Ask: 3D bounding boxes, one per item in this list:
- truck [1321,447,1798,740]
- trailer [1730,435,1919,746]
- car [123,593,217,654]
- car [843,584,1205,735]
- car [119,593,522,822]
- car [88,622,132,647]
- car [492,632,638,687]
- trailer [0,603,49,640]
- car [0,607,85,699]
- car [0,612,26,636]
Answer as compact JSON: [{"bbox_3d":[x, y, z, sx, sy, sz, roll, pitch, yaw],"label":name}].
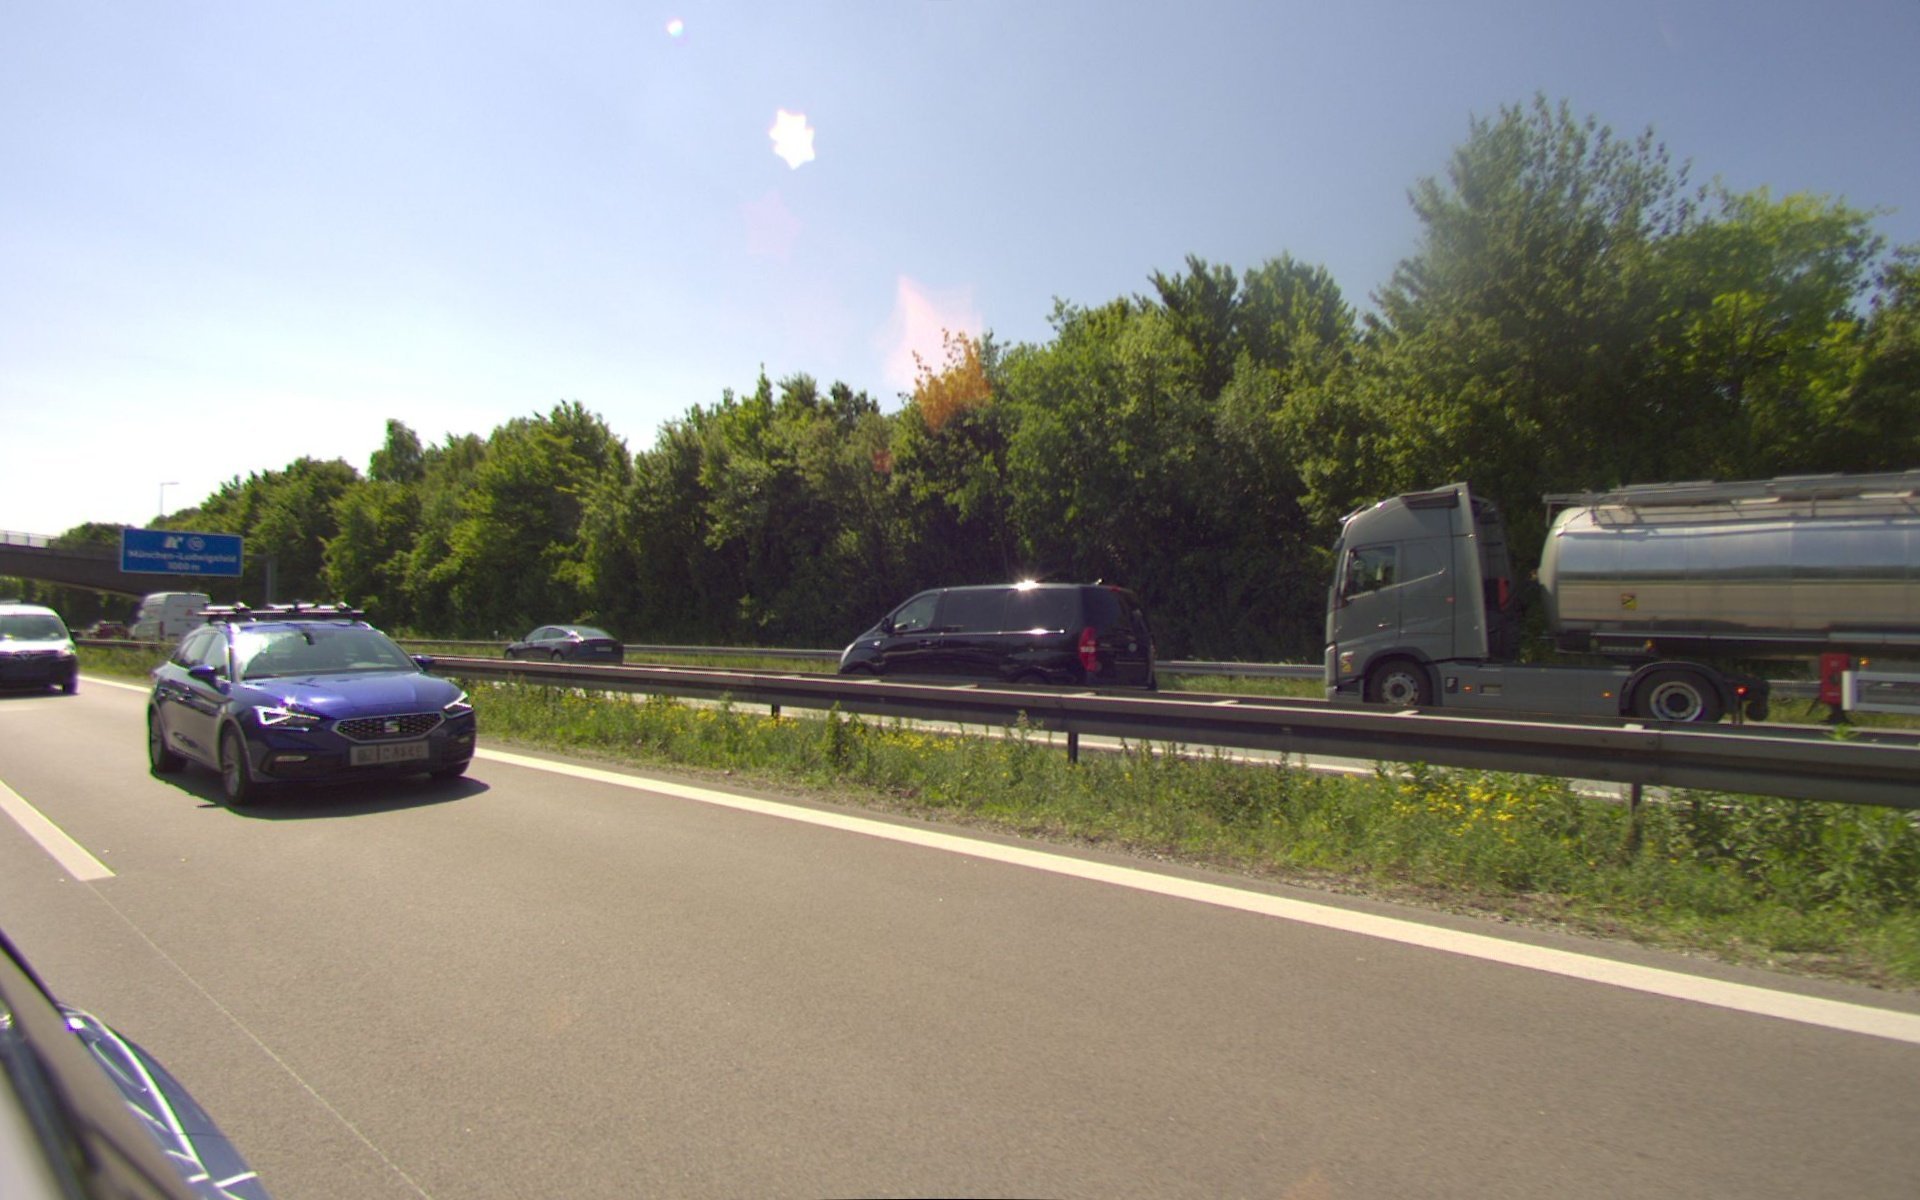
[{"bbox_3d":[9.541,0.032,16.561,6.316,3.912,2.704,-1,-4,39],"label":"truck"},{"bbox_3d":[15.095,-0.093,11.921,9.449,3.912,2.738,-1,-4,40],"label":"trailer"},{"bbox_3d":[-35.391,1.070,45.250,6.396,2.575,2.049,-1,-2,41],"label":"car"},{"bbox_3d":[0.751,0.771,14.444,5.056,1.802,1.887,-1,-2,41],"label":"car"},{"bbox_3d":[-6.002,0.822,9.314,4.235,1.638,1.881,-2,-2,39],"label":"car"},{"bbox_3d":[-60.526,2.434,72.023,4.320,1.642,1.842,0,-1,42],"label":"car"},{"bbox_3d":[-11.567,1.671,29.493,4.888,1.427,1.887,-1,-2,41],"label":"car"},{"bbox_3d":[-109.759,2.567,118.436,13.536,4.071,2.756,-1,-4,40],"label":"trailer"},{"bbox_3d":[-19.321,1.006,20.516,3.979,1.736,1.846,0,-1,41],"label":"car"},{"bbox_3d":[-92.573,2.319,98.227,6.513,2.252,1.973,0,-1,40],"label":"car"}]
